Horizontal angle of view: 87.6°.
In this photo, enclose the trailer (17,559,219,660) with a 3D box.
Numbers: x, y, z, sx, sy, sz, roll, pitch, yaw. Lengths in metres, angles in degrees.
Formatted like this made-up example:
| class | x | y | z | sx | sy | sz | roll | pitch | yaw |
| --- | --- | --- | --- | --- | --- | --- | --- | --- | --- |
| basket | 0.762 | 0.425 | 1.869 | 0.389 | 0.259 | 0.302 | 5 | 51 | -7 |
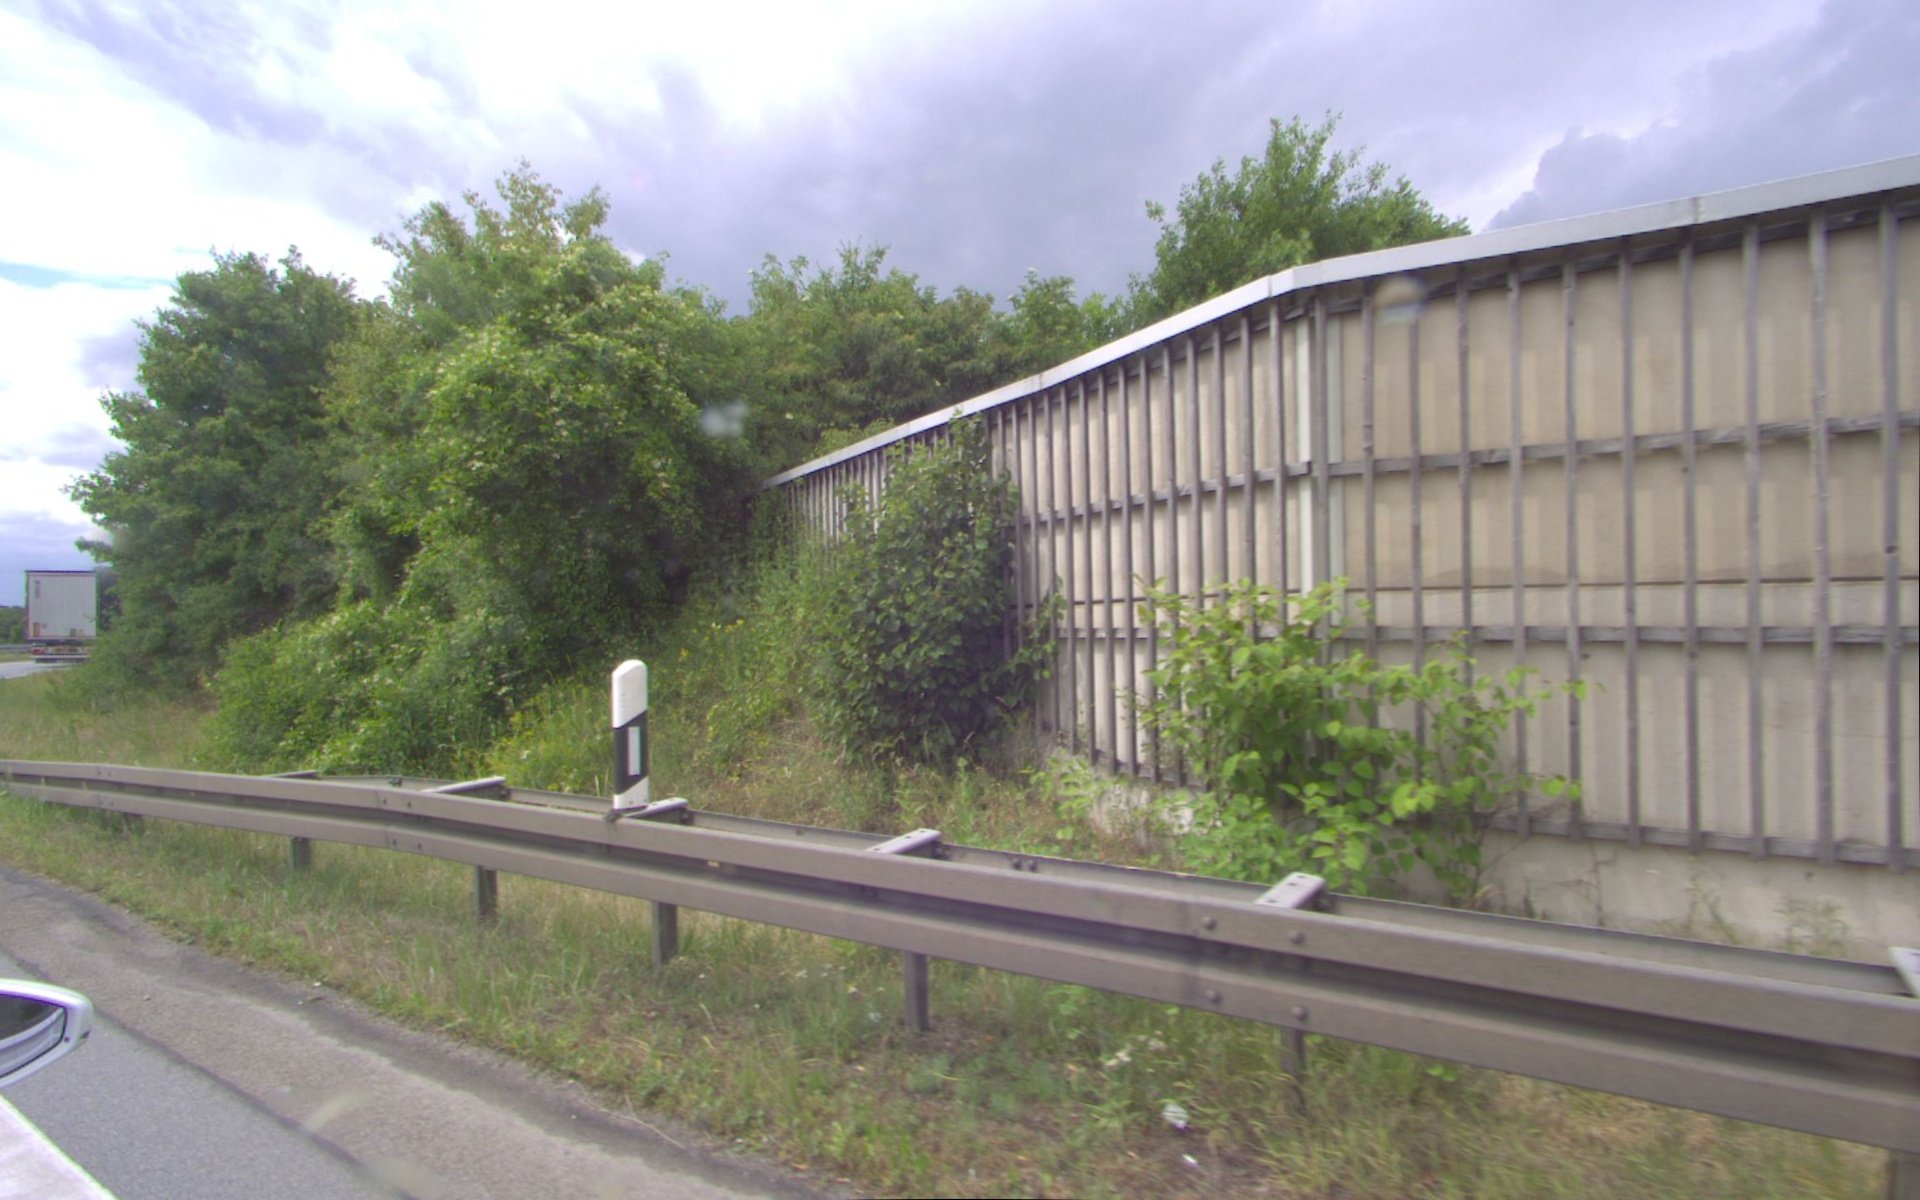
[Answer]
| class | x | y | z | sx | sy | sz | roll | pitch | yaw |
| --- | --- | --- | --- | --- | --- | --- | --- | --- | --- |
| trailer | -40.354 | 0.557 | 48.788 | 3.285 | 4.247 | 13.001 | 0 | -1 | -20 |
